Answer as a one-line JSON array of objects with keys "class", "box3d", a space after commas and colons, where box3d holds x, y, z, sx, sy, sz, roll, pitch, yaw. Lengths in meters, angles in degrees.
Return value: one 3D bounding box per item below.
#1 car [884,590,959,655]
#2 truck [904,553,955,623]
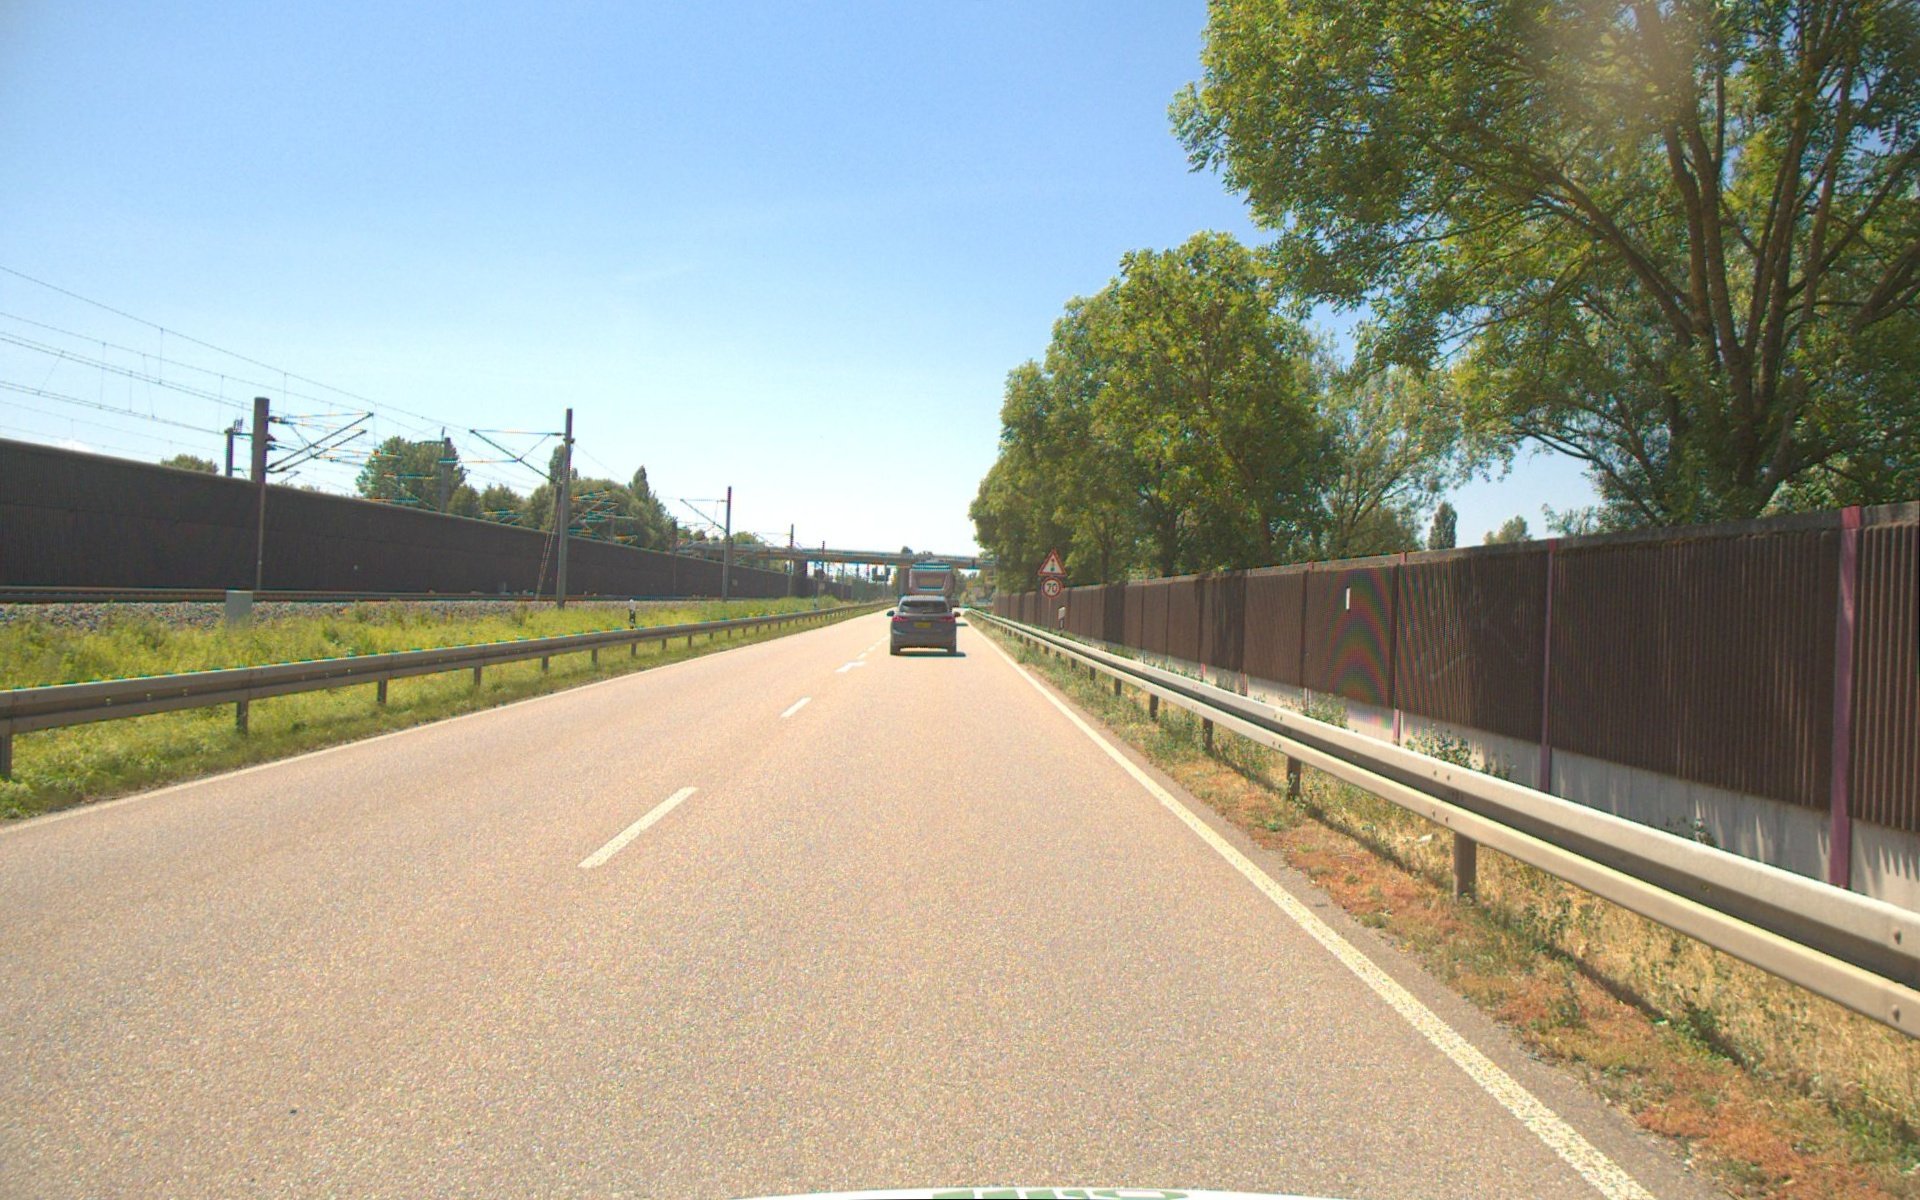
[{"class": "car", "box3d": [-1.005, 0.587, 45.155, 1.806, 1.651, 4.226, 1, 0, 1]}, {"class": "truck", "box3d": [-1.746, -0.671, 98.791, 2.775, 3.888, 11.884, 1, 0, 0]}]
